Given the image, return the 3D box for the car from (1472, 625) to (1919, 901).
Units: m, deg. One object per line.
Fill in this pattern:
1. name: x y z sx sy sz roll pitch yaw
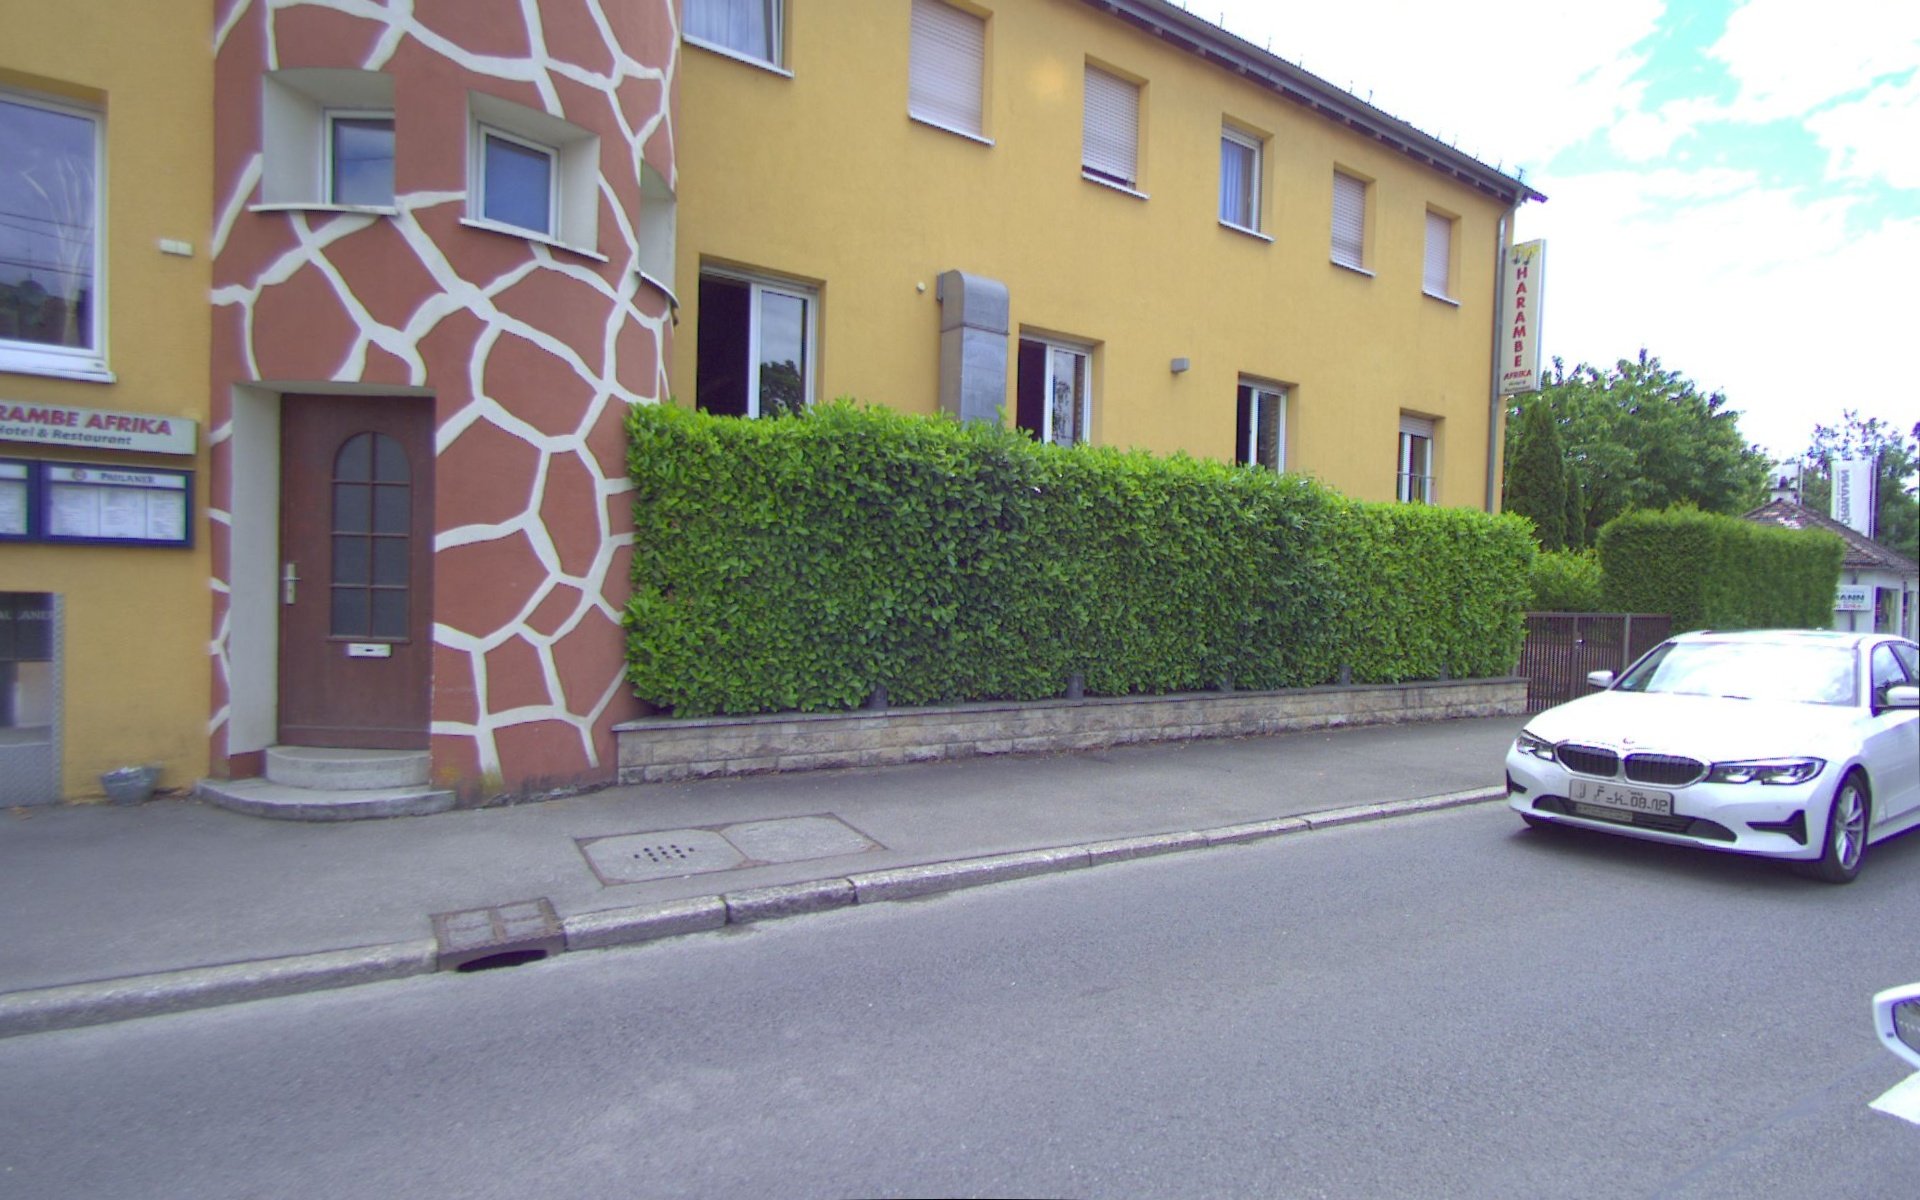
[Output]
1. car: 5.812 0.924 7.291 4.415 1.438 1.808 1 -1 -33
